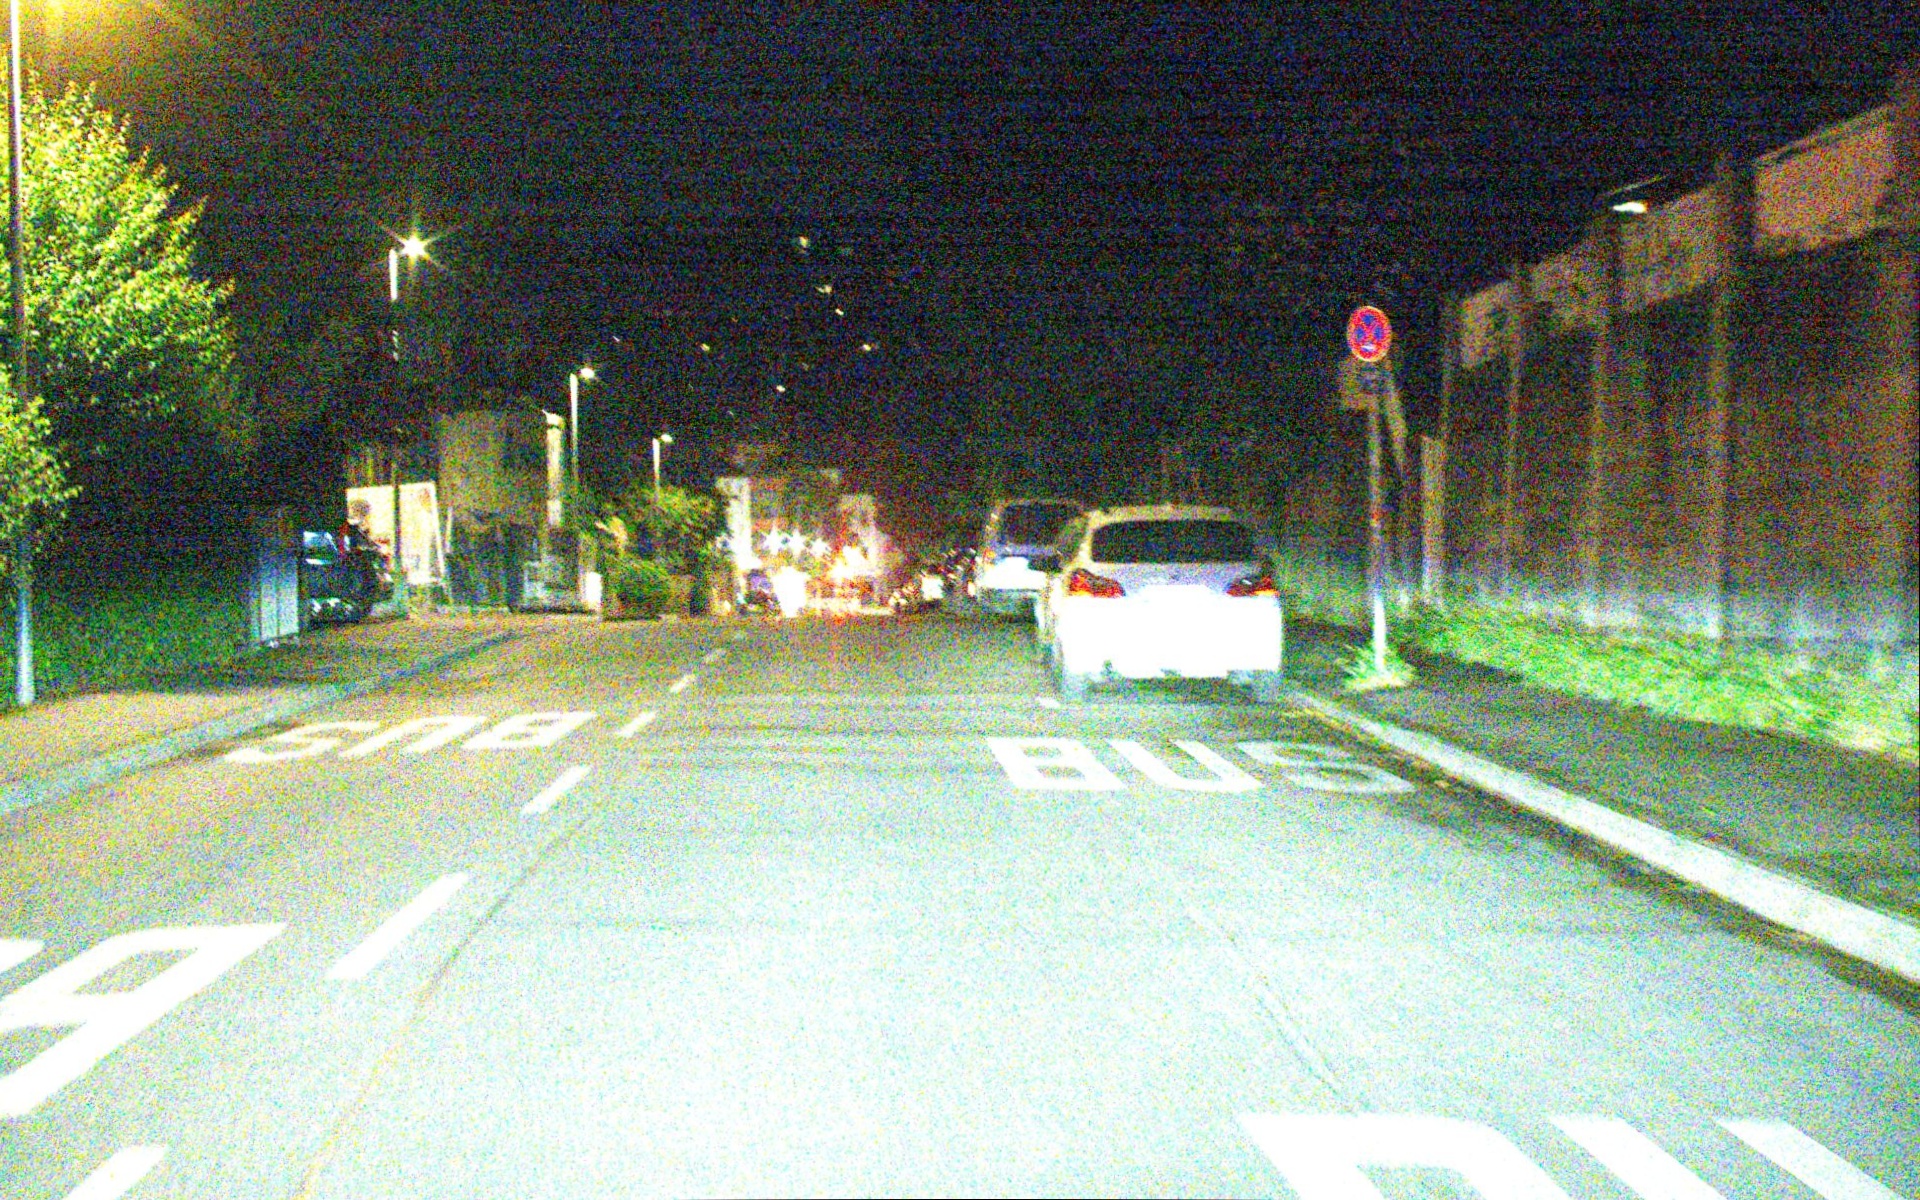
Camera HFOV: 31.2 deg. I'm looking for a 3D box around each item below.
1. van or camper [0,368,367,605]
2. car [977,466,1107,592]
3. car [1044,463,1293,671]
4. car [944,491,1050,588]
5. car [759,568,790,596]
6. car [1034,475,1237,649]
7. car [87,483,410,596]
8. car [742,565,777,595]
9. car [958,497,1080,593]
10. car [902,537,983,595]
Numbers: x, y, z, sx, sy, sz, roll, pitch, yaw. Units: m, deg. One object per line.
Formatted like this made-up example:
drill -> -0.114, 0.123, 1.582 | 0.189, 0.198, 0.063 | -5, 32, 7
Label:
van or camper -> -10.995, -1.532, 47.739 | 5.397, 3.101, 2.133 | 0, -2, -11
car -> 1.162, -1.041, 50.593 | 1.718, 1.755, 4.758 | 0, 1, -1
car -> 1.664, -0.327, 28.822 | 1.755, 1.588, 4.728 | 0, 2, 0
car -> 0.662, -1.051, 61.705 | 1.832, 1.658, 4.618 | 0, 0, 1
car -> -10.683, -1.032, 198.076 | 1.753, 1.534, 3.731 | -1, 0, -3
car -> 1.649, -0.415, 33.332 | 1.608, 1.456, 3.717 | -3, 3, -2
car -> -10.612, -0.895, 51.514 | 4.417, 1.608, 2.065 | -1, 0, 0
car -> -10.562, -1.062, 180.952 | 1.753, 1.534, 3.731 | -1, 0, -5
car -> 0.923, -0.892, 56.085 | 1.743, 1.465, 4.257 | 1, 1, -2
car -> -0.495, -0.884, 91.141 | 1.762, 1.470, 4.276 | 1, 0, -5
